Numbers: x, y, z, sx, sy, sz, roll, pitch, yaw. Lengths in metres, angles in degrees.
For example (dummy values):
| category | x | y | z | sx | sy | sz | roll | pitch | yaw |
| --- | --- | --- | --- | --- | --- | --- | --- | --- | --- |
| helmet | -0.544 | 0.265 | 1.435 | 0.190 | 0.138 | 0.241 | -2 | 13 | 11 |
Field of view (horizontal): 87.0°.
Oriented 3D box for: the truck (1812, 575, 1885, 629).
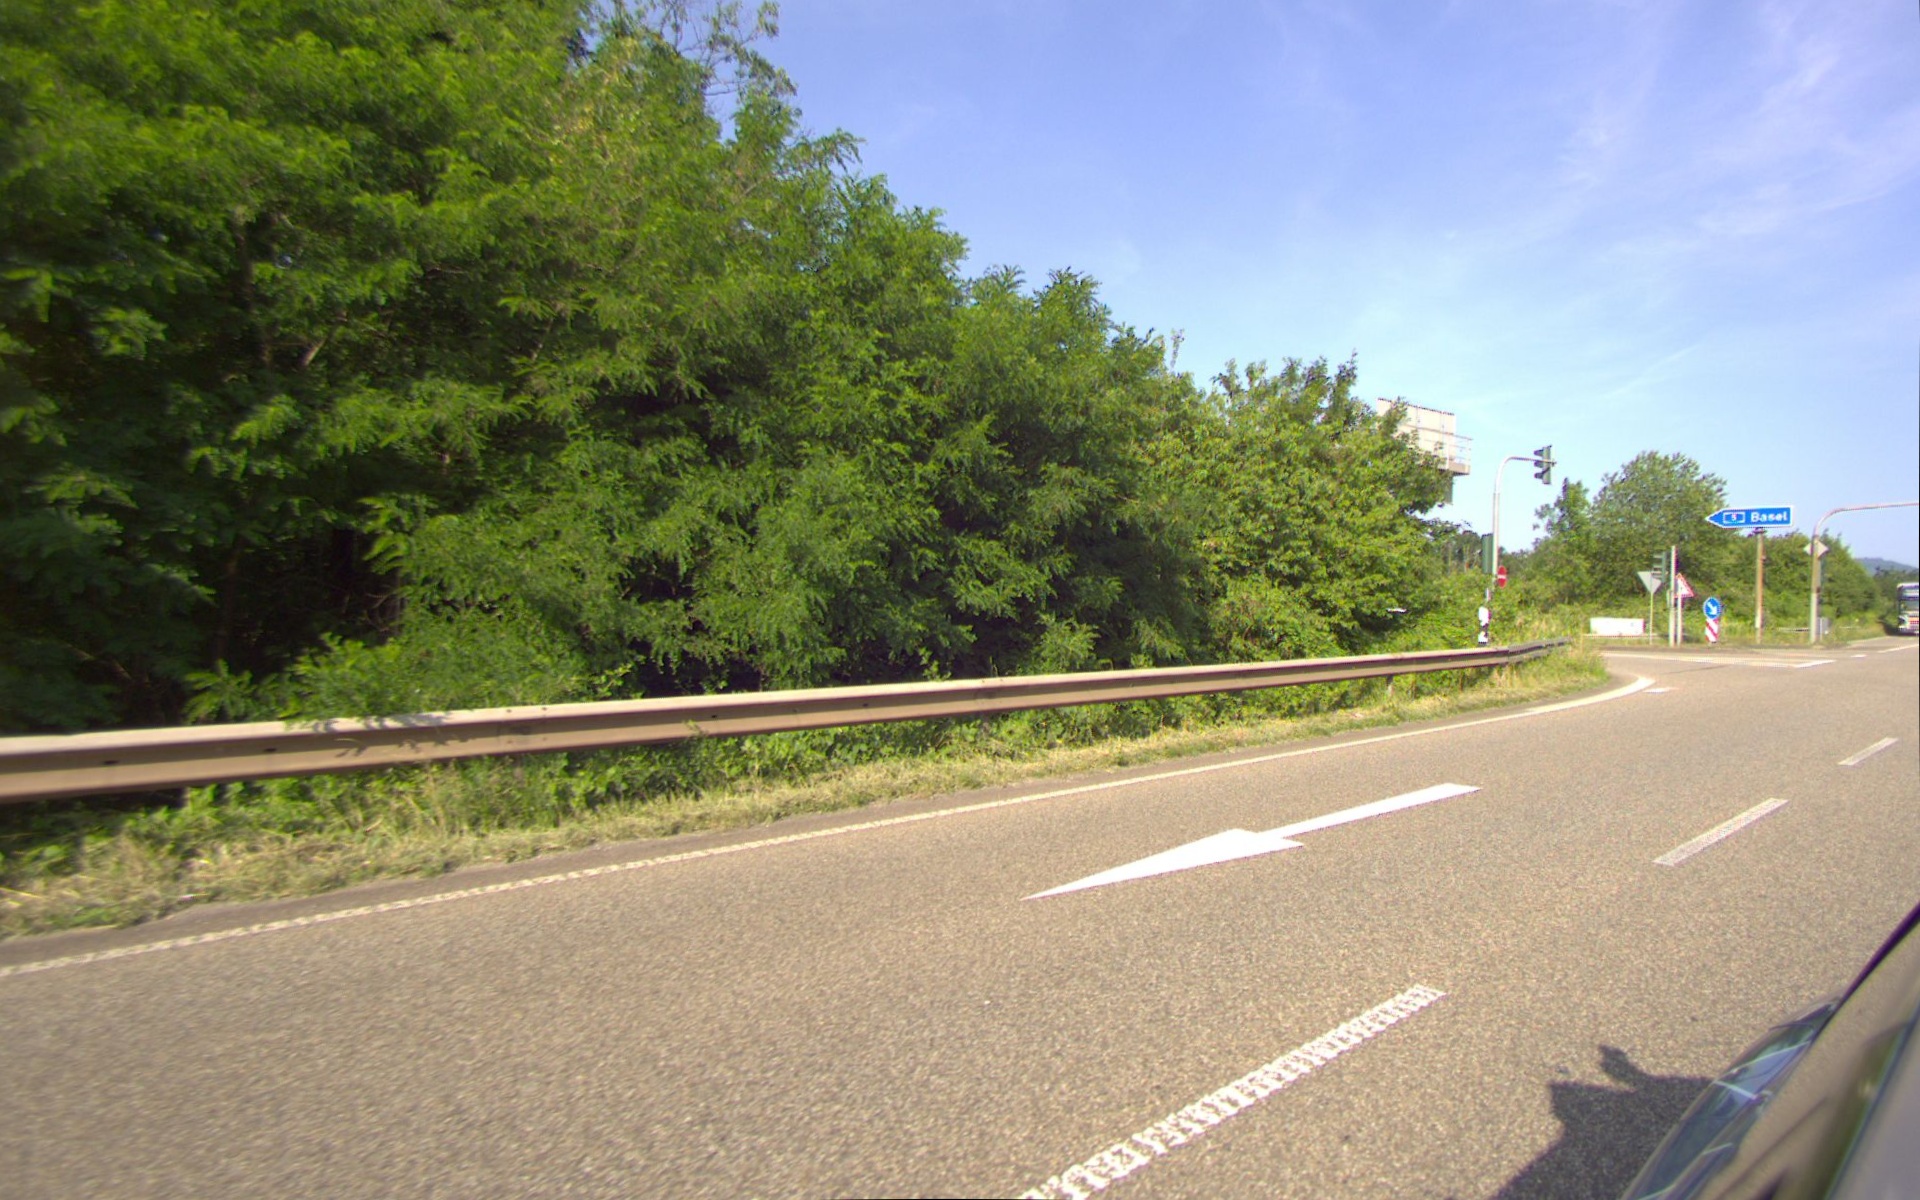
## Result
| category | x | y | z | sx | sy | sz | roll | pitch | yaw |
| --- | --- | --- | --- | --- | --- | --- | --- | --- | --- |
| truck | 72.967 | 0.217 | 82.910 | 14.319 | 4.070 | 3.191 | 1 | -1 | -44 |
